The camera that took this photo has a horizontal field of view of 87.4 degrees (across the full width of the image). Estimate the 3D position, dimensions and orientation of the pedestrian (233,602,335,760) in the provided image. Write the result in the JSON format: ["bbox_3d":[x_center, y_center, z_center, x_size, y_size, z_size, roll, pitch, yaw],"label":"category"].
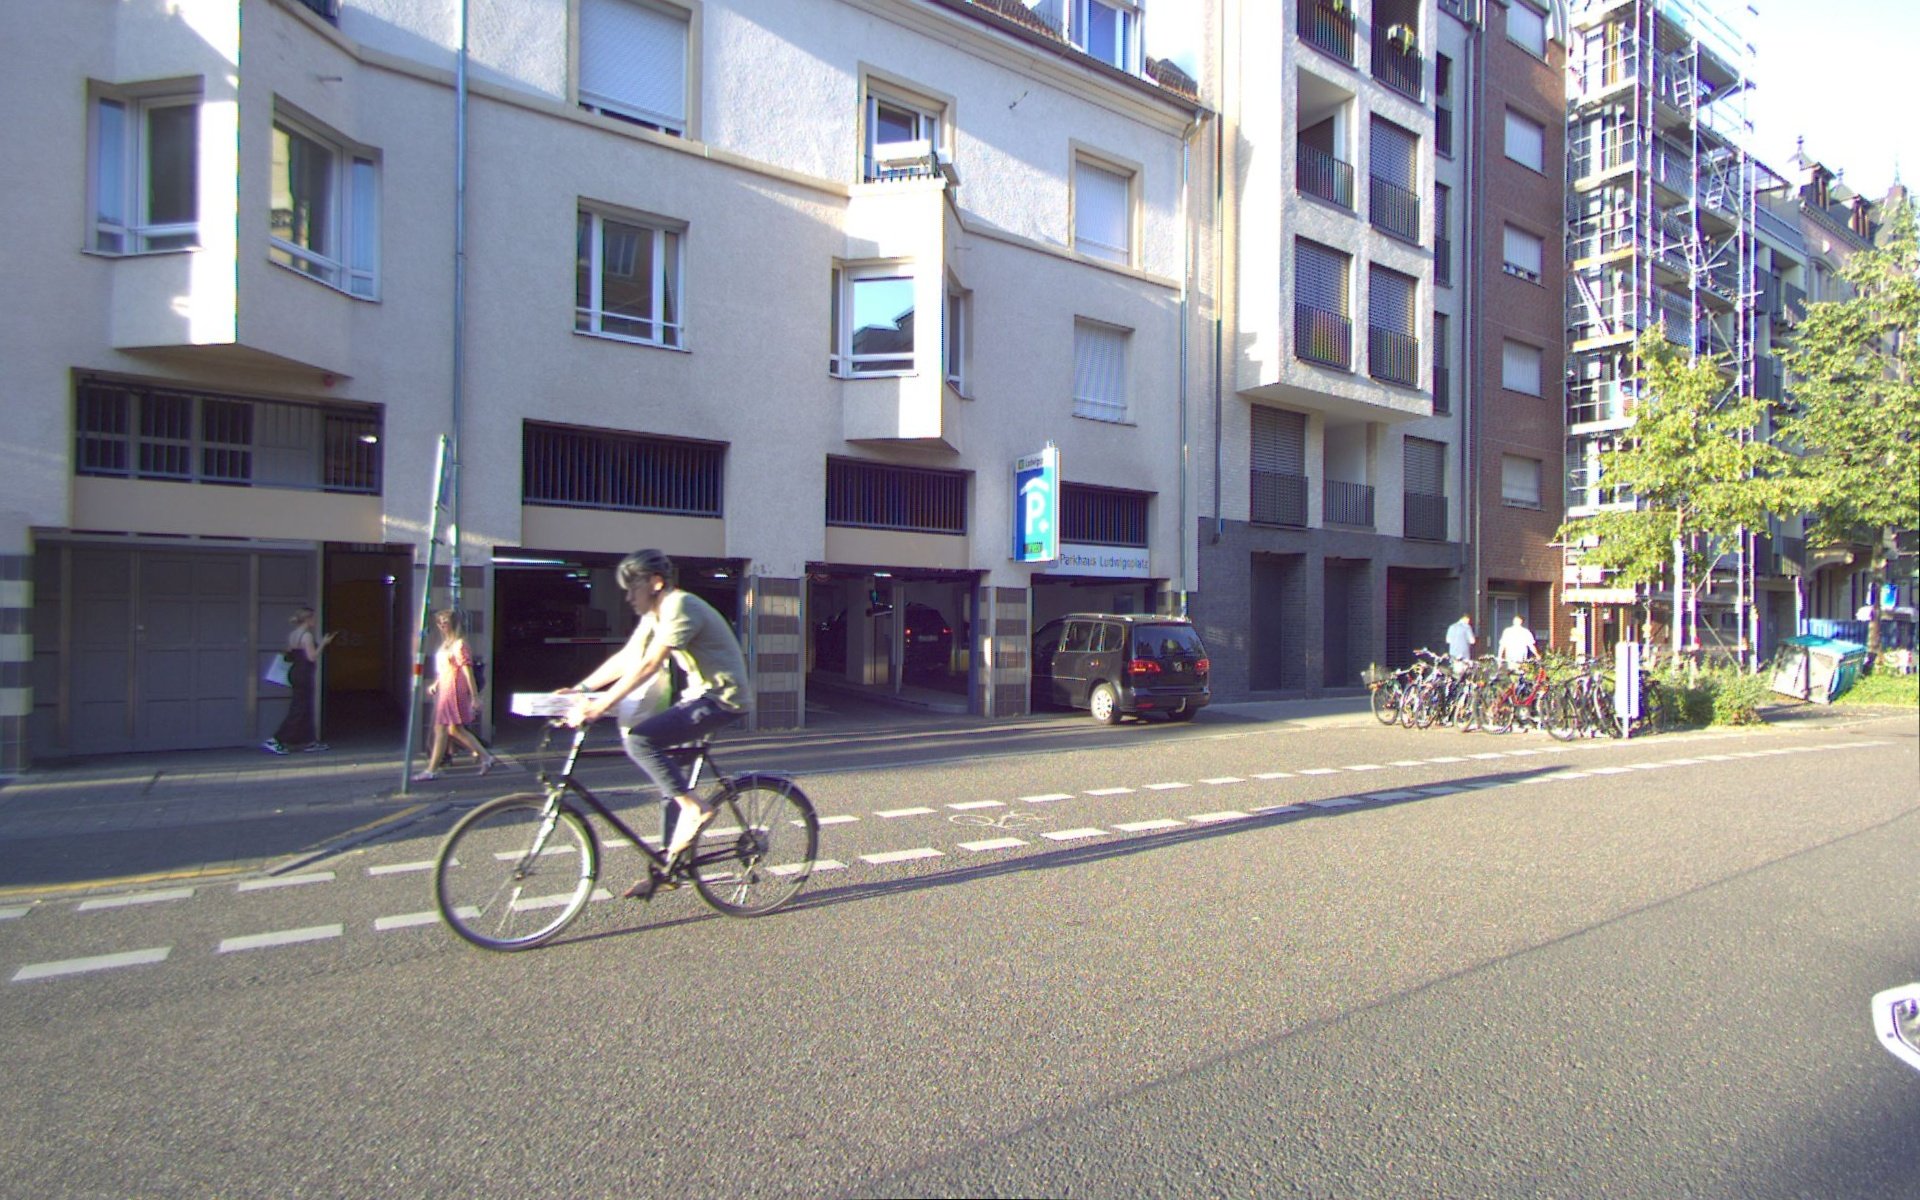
[{"bbox_3d":[-7.366,0.858,10.983,0.845,1.637,0.713,2,0,-31],"label":"pedestrian"}]

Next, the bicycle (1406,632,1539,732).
[{"bbox_3d":[7.964,1.205,15.512,3.119,1.391,0.773,2,0,-43],"label":"bicycle"}]

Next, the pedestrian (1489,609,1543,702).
[{"bbox_3d":[10.995,1.083,19.867,0.733,1.763,0.710,2,0,-41],"label":"pedestrian"}]

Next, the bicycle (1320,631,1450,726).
[{"bbox_3d":[7.044,1.242,16.525,3.130,1.414,0.714,2,0,-43],"label":"bicycle"}]

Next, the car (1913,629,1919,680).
[{"bbox_3d":[29.678,1.641,28.069,1.868,1.485,4.081,2,0,-31],"label":"car"}]

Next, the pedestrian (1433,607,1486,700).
[{"bbox_3d":[9.945,1.055,19.997,0.689,1.790,0.710,2,0,-41],"label":"pedestrian"}]

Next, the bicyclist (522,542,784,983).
[{"bbox_3d":[-1.482,0.705,4.858,0.997,1.853,0.775,2,-2,-36],"label":"bicyclist"}]

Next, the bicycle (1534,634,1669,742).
[{"bbox_3d":[9.125,1.171,14.211,3.164,1.368,0.837,2,-2,-43],"label":"bicycle"}]

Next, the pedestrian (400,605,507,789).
[{"bbox_3d":[-4.874,0.898,9.662,0.845,1.663,0.713,2,0,-29],"label":"pedestrian"}]

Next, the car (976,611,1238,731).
[{"bbox_3d":[2.267,1.060,16.773,1.977,1.623,4.473,2,0,-30],"label":"car"}]

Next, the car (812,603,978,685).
[{"bbox_3d":[-1.598,0.937,22.985,1.977,1.623,4.472,2,0,-30],"label":"car"}]

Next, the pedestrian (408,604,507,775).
[{"bbox_3d":[-5.175,0.893,10.342,0.845,1.663,0.713,2,0,-29],"label":"pedestrian"}]

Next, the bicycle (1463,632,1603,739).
[{"bbox_3d":[8.534,1.202,14.879,3.143,1.414,0.884,2,-1,-43],"label":"bicycle"}]

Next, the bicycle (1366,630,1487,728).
[{"bbox_3d":[7.493,1.210,16.025,3.138,1.414,0.579,2,0,-43],"label":"bicycle"}]

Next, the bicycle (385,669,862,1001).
[{"bbox_3d":[-1.529,0.963,4.774,2.001,1.220,0.775,2,-2,-36],"label":"bicycle"}]
